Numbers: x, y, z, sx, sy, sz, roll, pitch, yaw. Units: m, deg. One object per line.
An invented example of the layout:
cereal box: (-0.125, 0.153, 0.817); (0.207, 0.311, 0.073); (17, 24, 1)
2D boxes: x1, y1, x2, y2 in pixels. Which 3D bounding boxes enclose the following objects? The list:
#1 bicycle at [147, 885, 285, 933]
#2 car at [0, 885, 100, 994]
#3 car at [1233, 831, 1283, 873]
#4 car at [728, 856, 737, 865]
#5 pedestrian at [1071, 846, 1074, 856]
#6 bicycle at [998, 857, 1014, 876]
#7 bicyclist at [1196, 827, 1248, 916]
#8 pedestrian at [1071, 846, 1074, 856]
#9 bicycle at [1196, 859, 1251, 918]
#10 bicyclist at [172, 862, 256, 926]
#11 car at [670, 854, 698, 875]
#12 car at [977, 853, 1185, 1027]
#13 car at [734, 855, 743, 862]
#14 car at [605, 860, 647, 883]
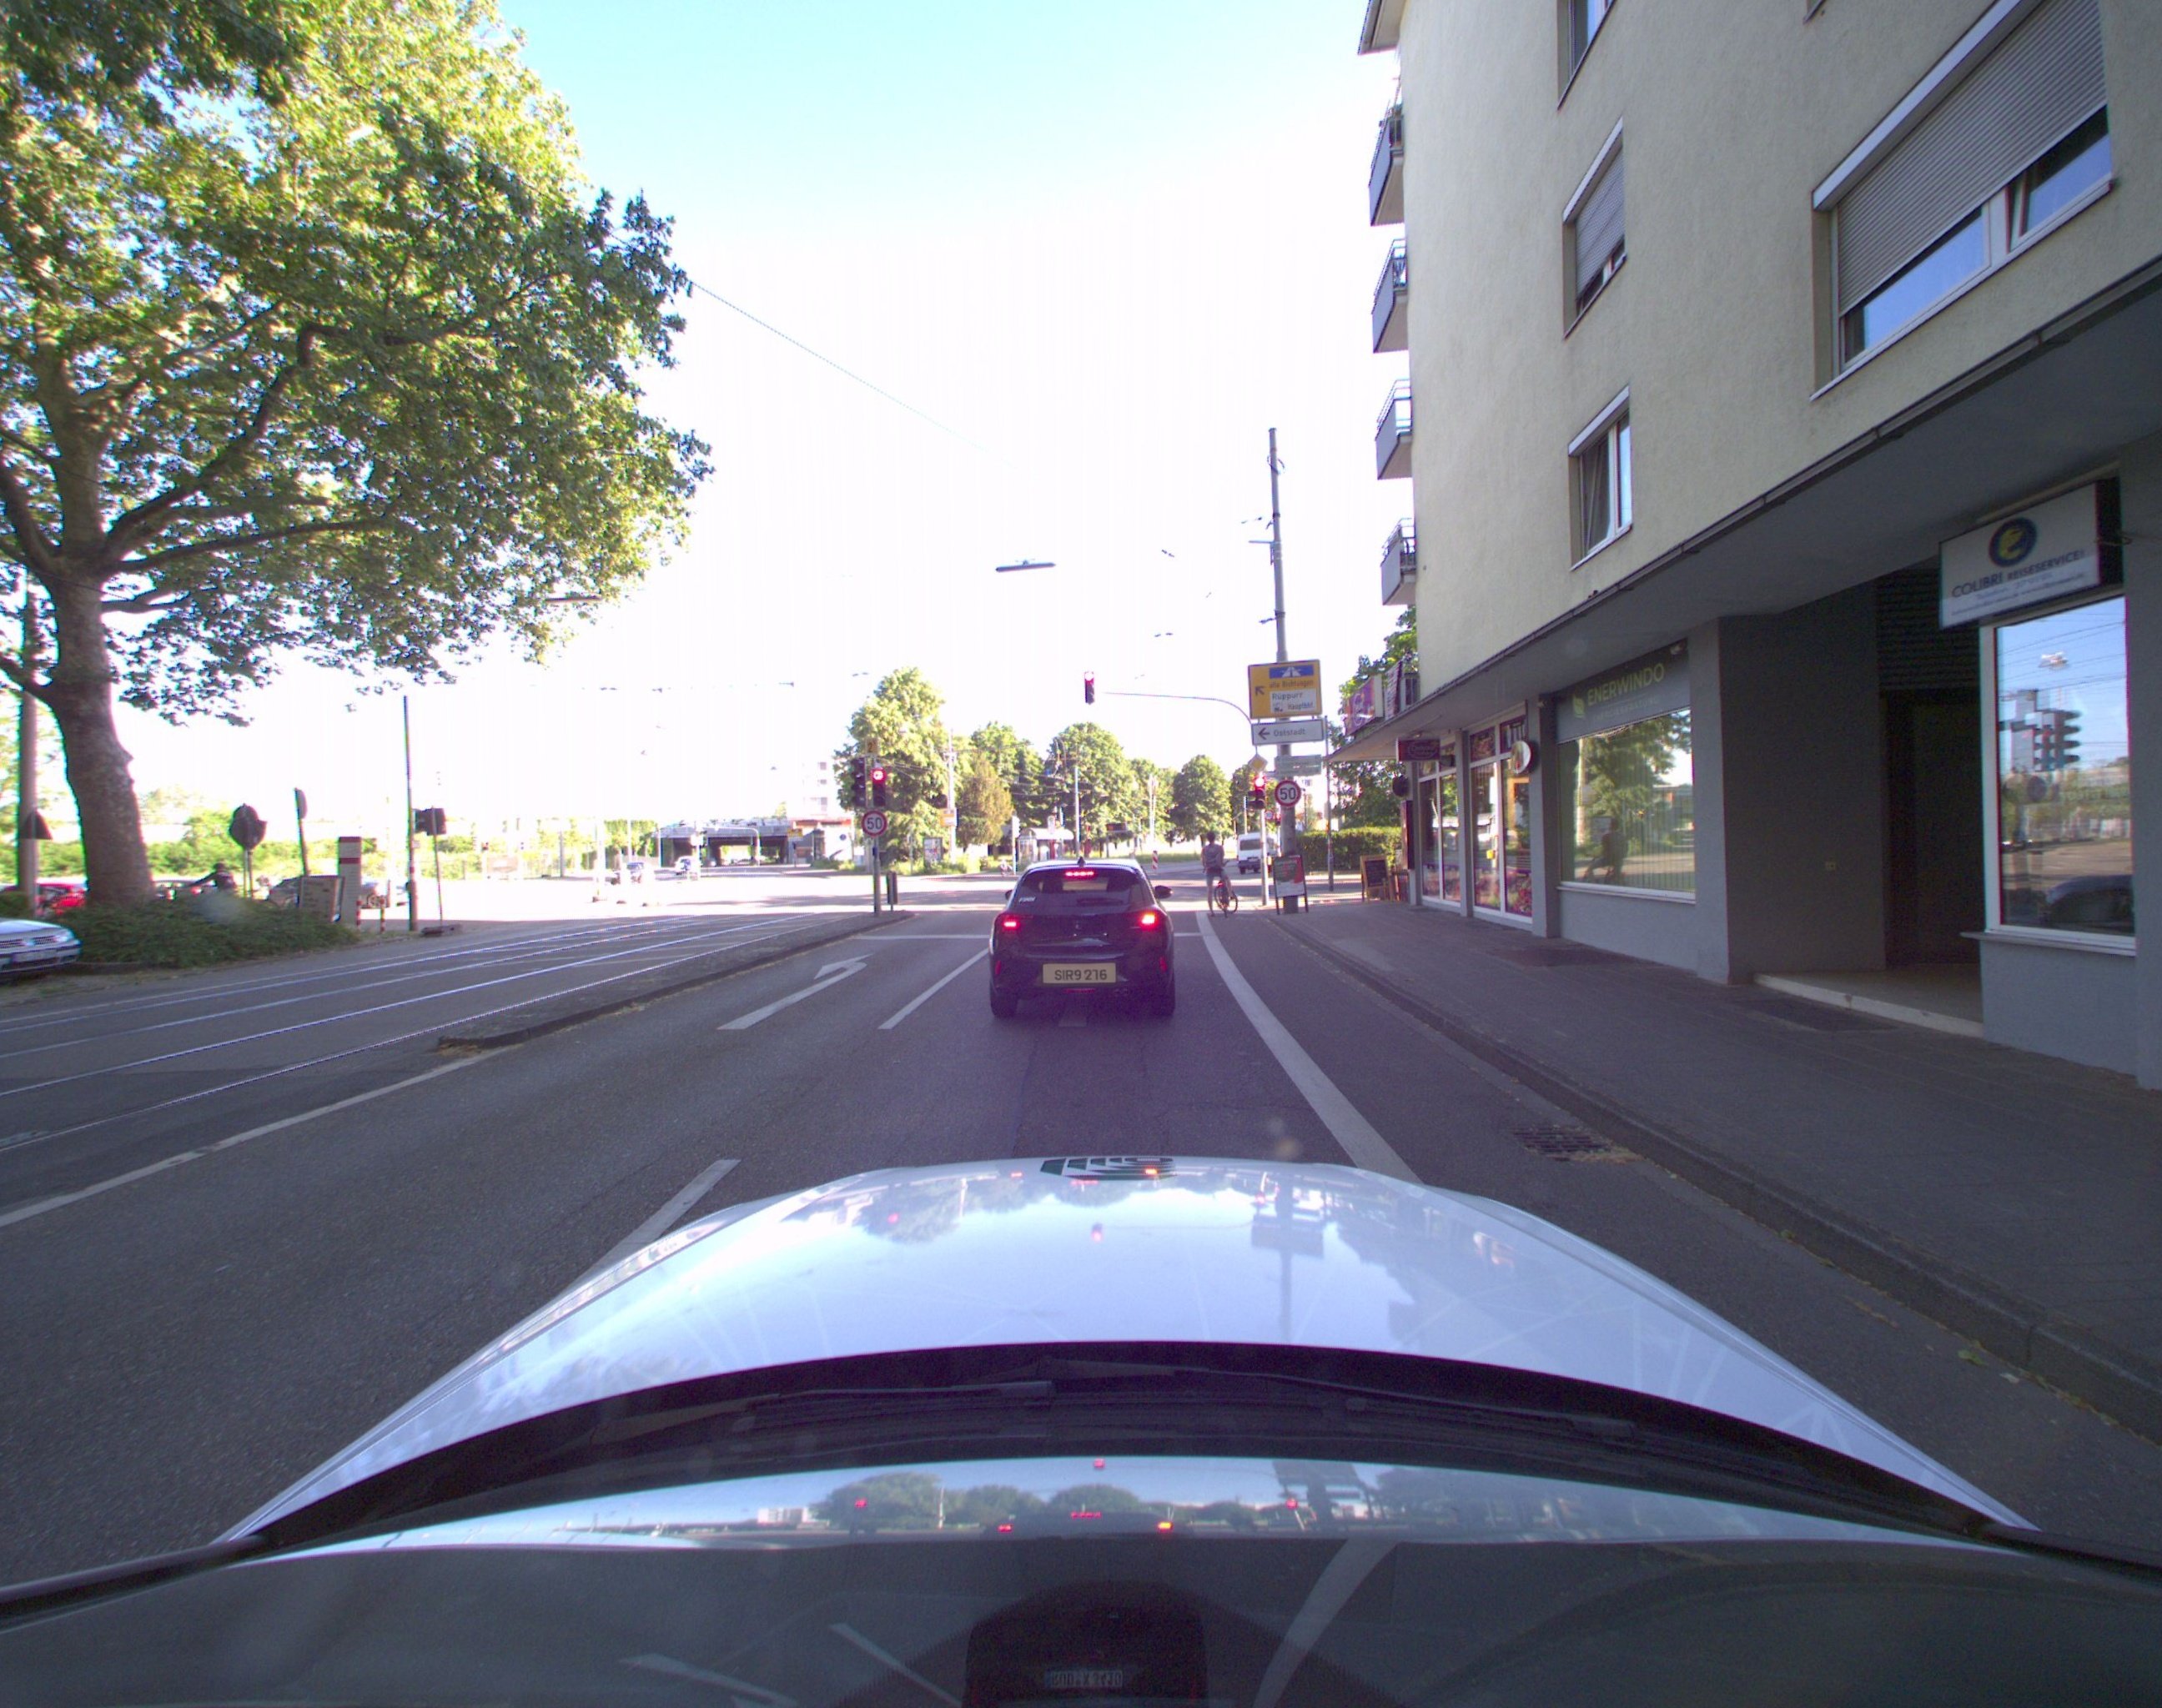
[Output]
bicycle: (-21.688, 1.357, 20.491); (2.199, 1.033, 0.828); (-2, 0, -21)
car: (-16.955, 1.199, 11.359); (4.497, 1.429, 1.676); (0, 0, 0)
car: (10.150, -0.148, 46.379); (2.046, 2.248, 4.912); (-2, 0, 20)
car: (-87.498, 1.628, 204.424); (2.004, 1.947, 4.461); (-2, 0, -26)
pedestrian: (-1.156, -0.476, 115.029); (0.411, 1.412, 0.436); (0, -1, 1)
bicycle: (-4.301, 0.730, 46.734); (0.603, 1.031, 1.983); (-2, 0, 2)
bicyclist: (3.070, 0.370, 17.773); (0.938, 1.851, 0.864); (-2, 0, 1)
pedestrian: (-1.228, -0.473, 115.618); (0.411, 1.412, 0.436); (0, -1, -1)
bicycle: (3.082, 0.726, 17.825); (0.857, 1.153, 2.172); (-2, 0, 1)
bicyclist: (-21.759, 0.985, 20.459); (1.117, 1.520, 0.915); (-2, 0, -21)
car: (-36.878, 1.004, 75.642); (2.225, 1.823, 4.110); (-2, 0, -27)
car: (0.075, 0.721, 8.914); (1.720, 1.429, 4.189); (-1, 0, 2)
car: (-97.993, 1.309, 232.973); (2.004, 1.717, 3.965); (-2, 0, -26)
car: (-31.282, 1.158, 56.099); (1.830, 1.519, 3.870); (0, 0, -18)
